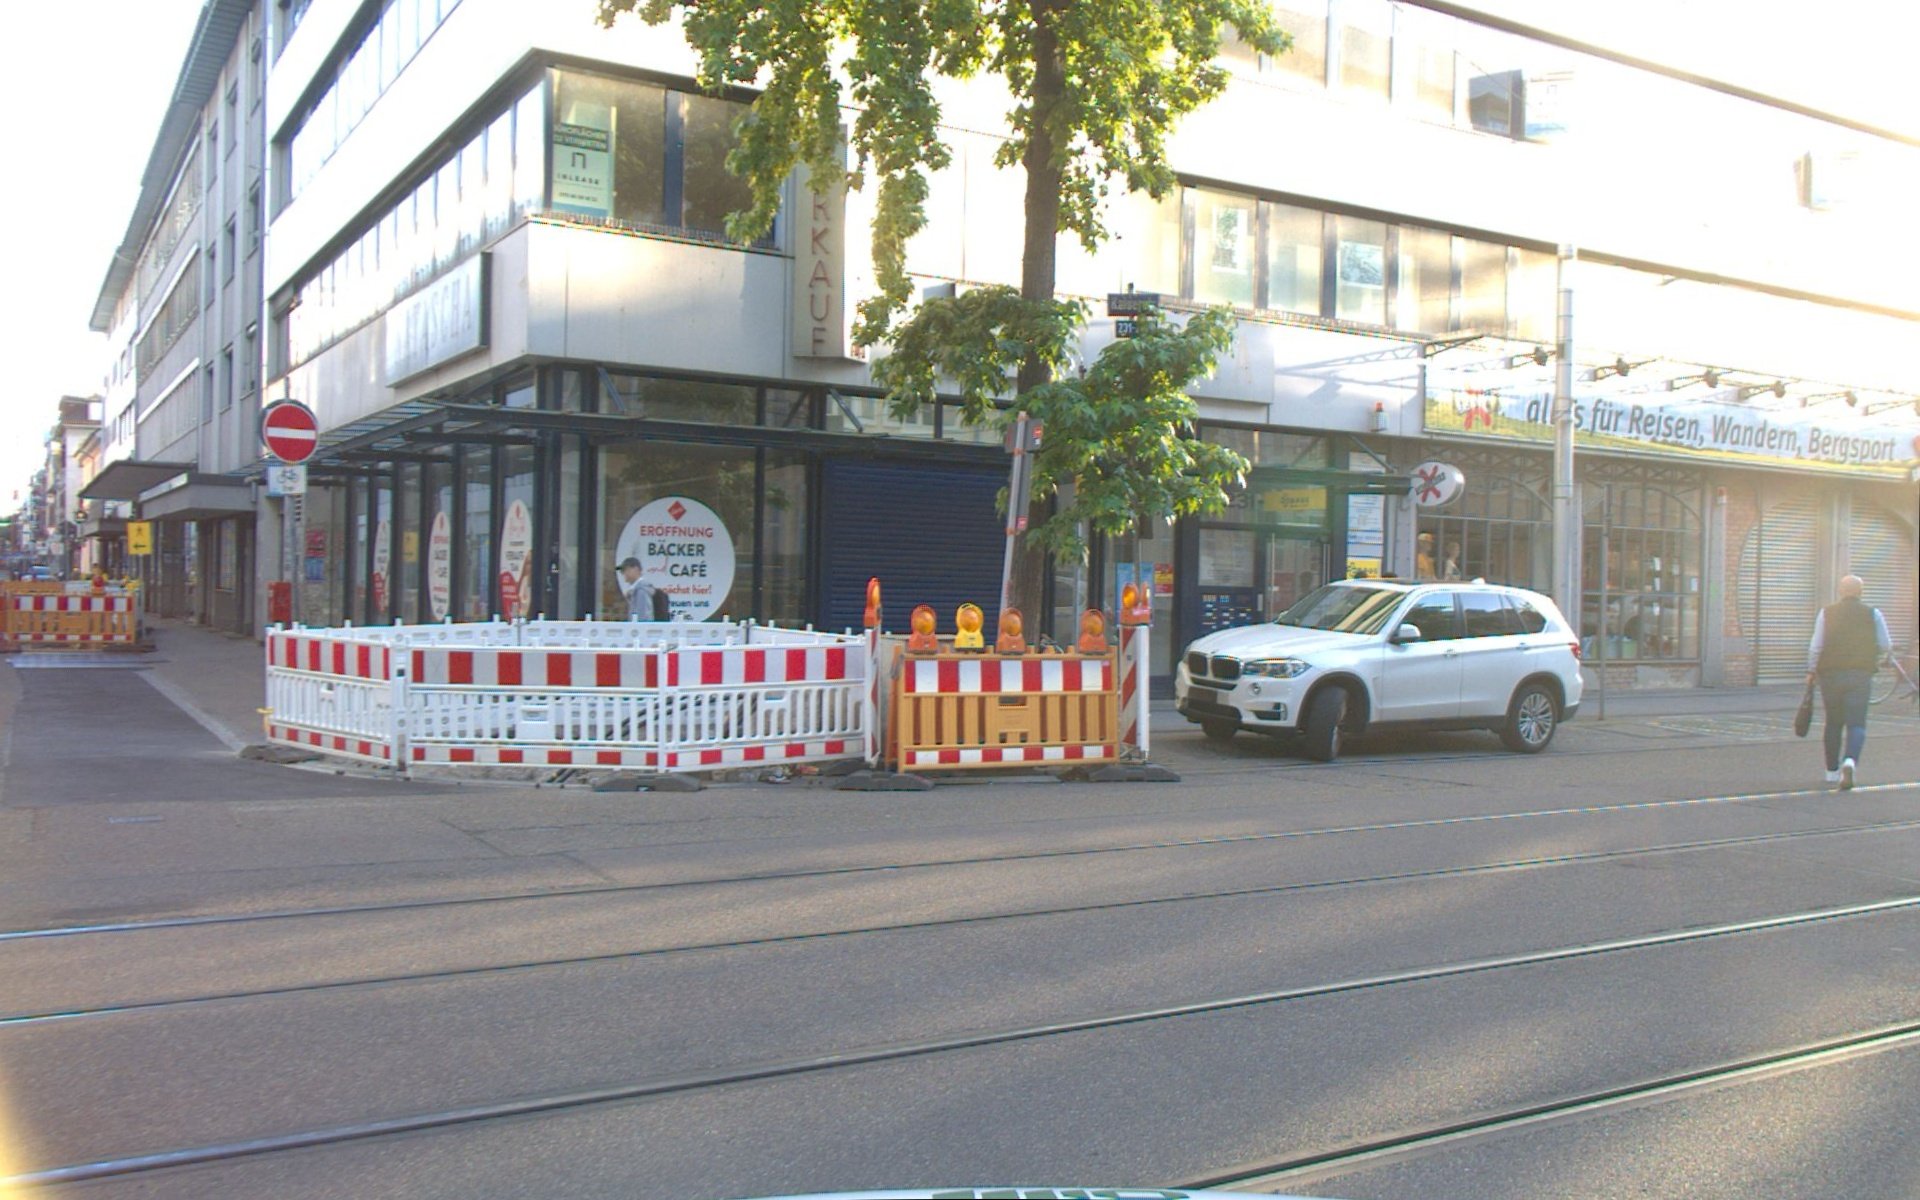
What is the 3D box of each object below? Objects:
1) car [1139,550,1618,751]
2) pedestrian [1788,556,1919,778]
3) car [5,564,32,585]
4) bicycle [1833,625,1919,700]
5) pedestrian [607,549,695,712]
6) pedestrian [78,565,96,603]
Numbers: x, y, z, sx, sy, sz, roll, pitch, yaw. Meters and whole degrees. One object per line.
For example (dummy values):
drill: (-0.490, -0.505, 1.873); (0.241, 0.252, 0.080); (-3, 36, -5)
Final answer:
car: (4.474, 0.486, 17.470); (4.879, 1.806, 2.002); (1, 3, -31)
pedestrian: (7.627, 0.536, 14.094); (0.785, 1.807, 1.073); (1, 1, 14)
car: (-79.449, -2.161, 139.625); (1.973, 1.807, 3.960); (0, 1, -30)
bicycle: (13.966, 0.938, 24.221); (0.661, 0.969, 2.005); (0, 4, -32)
pedestrian: (-3.060, 0.289, 16.393); (0.698, 1.576, 0.572); (0, 1, -33)
pedestrian: (-34.596, -0.640, 65.559); (0.516, 1.490, 0.713); (1, 0, -22)
